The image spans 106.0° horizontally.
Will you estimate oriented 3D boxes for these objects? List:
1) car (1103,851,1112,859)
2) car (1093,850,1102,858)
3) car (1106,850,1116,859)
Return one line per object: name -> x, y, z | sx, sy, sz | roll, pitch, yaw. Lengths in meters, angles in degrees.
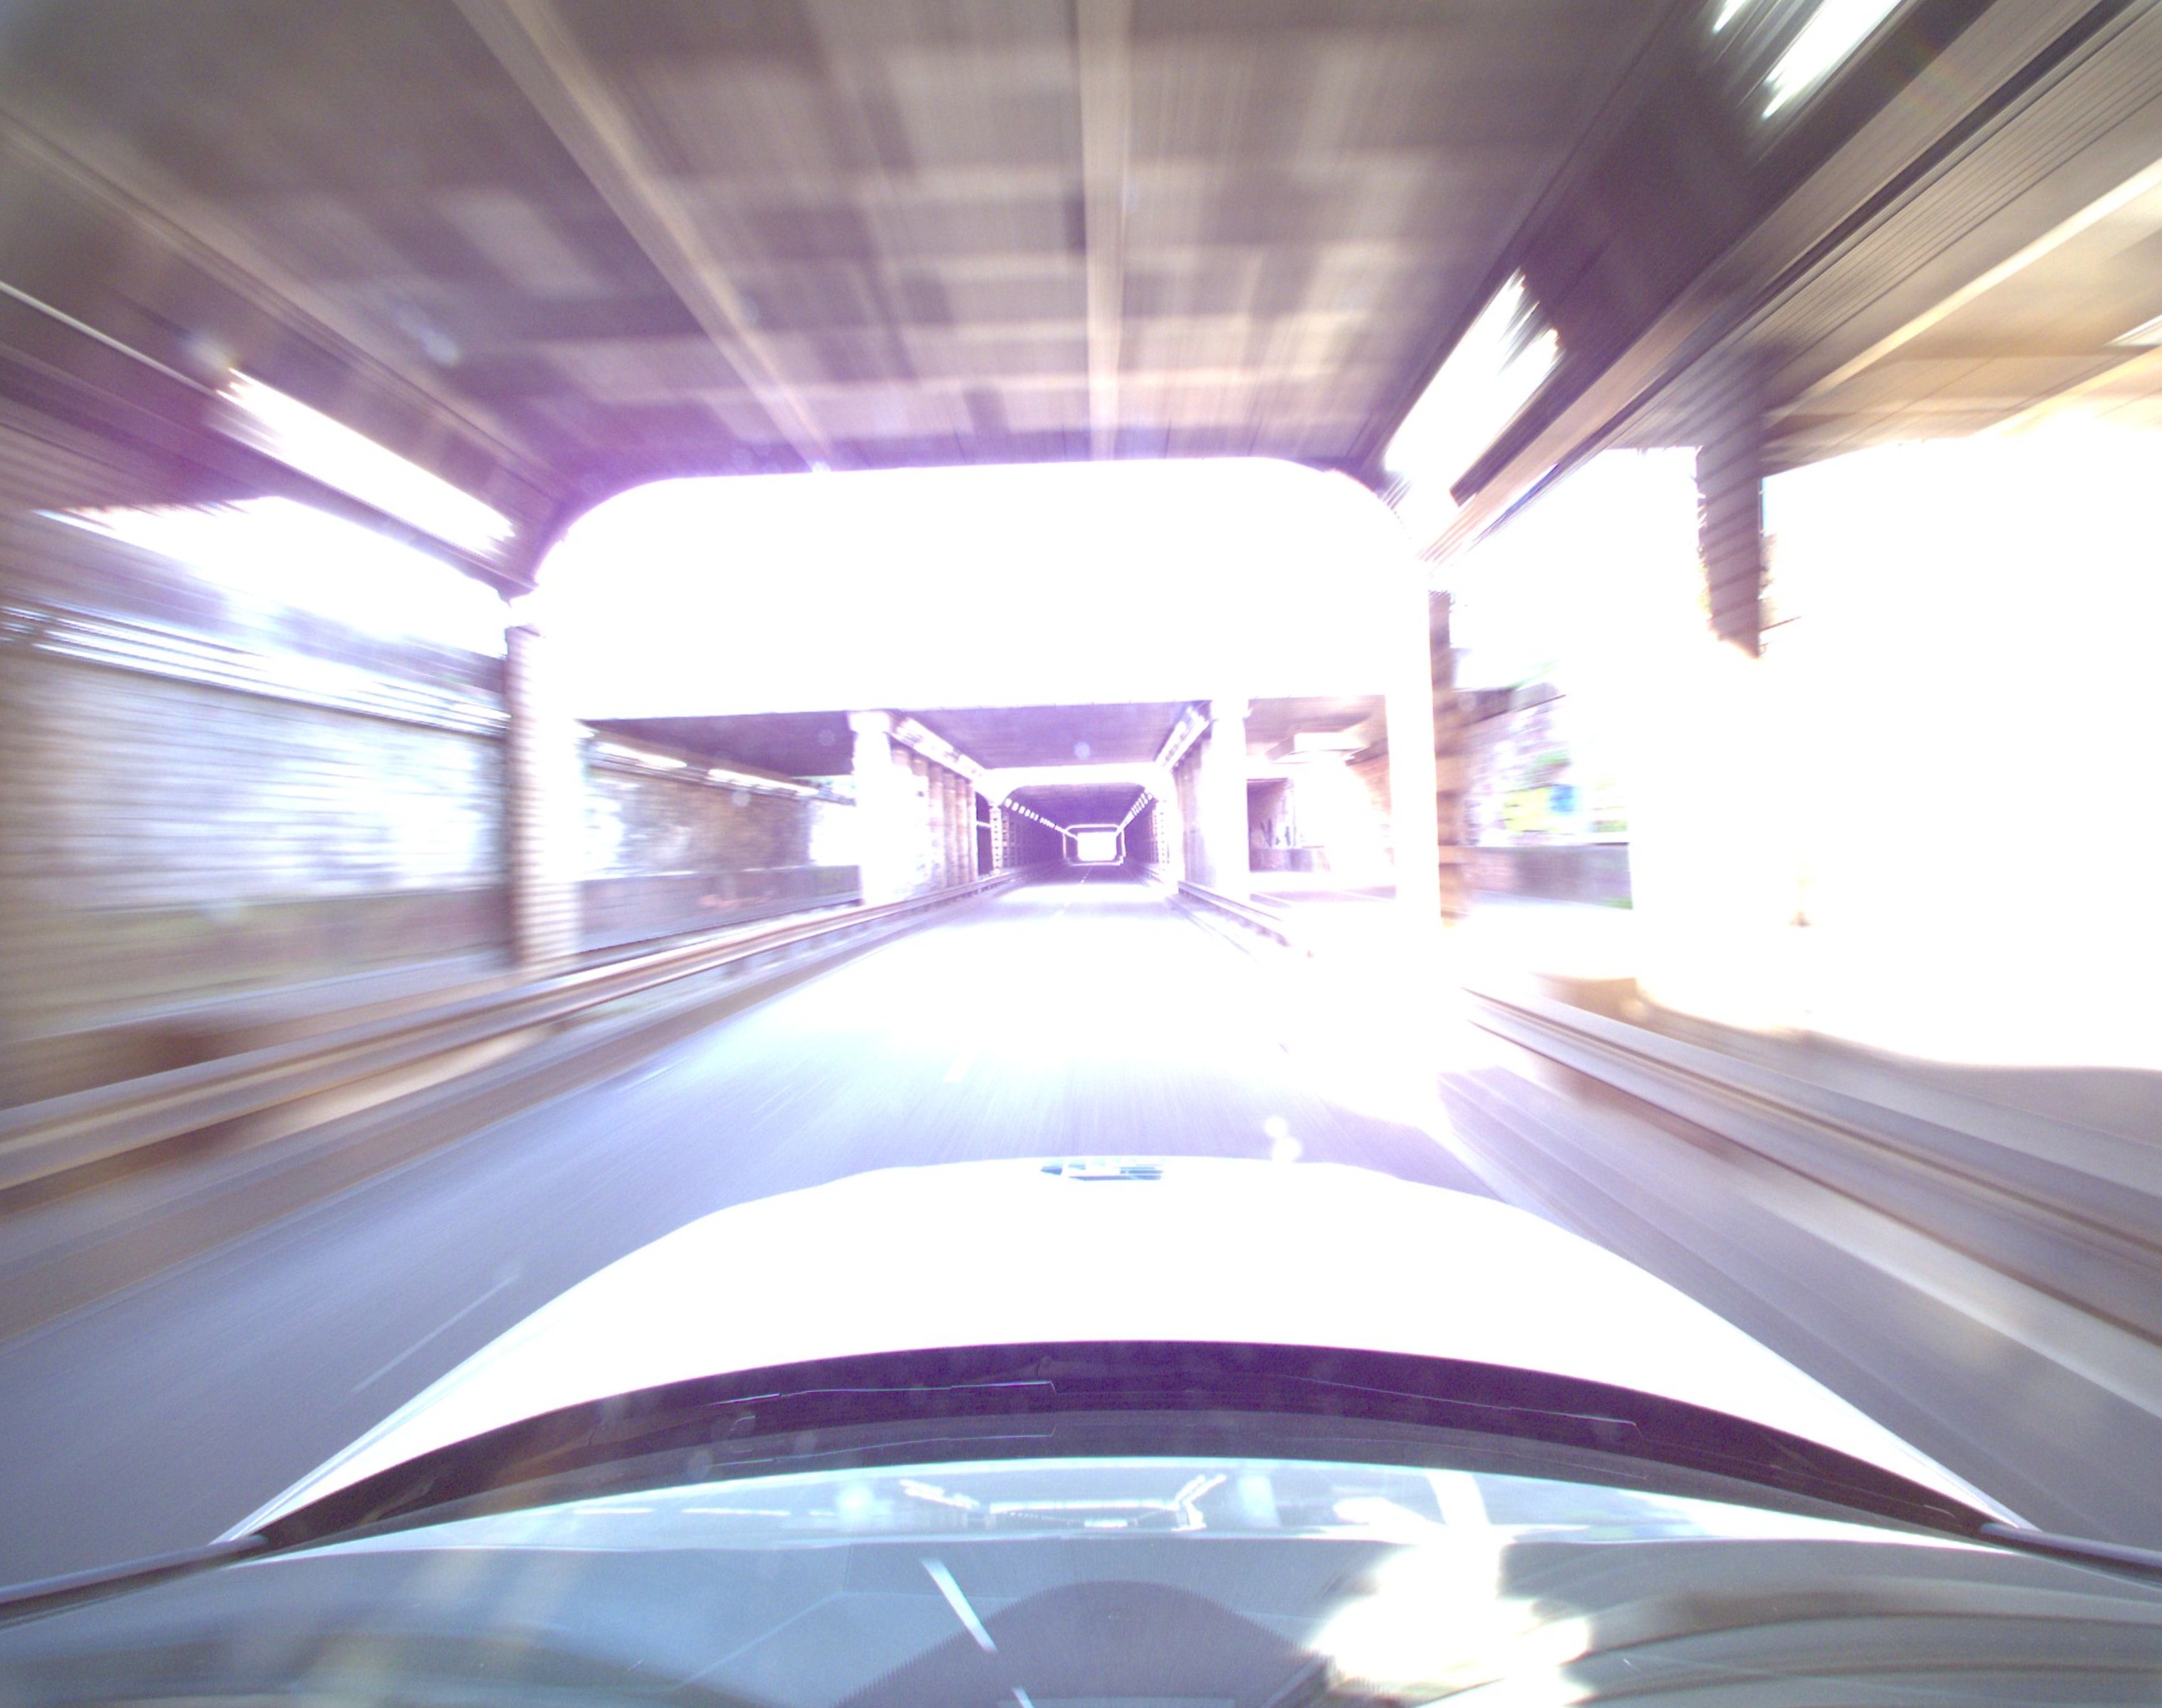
car -> 6.106, 0.162, 185.672 | 1.986, 1.784, 4.001 | -3, 0, 1
car -> 3.968, -0.105, 192.374 | 1.986, 1.784, 4.001 | -3, 0, 1
car -> 6.500, 0.137, 176.237 | 1.986, 1.784, 4.001 | -2, 0, 1
